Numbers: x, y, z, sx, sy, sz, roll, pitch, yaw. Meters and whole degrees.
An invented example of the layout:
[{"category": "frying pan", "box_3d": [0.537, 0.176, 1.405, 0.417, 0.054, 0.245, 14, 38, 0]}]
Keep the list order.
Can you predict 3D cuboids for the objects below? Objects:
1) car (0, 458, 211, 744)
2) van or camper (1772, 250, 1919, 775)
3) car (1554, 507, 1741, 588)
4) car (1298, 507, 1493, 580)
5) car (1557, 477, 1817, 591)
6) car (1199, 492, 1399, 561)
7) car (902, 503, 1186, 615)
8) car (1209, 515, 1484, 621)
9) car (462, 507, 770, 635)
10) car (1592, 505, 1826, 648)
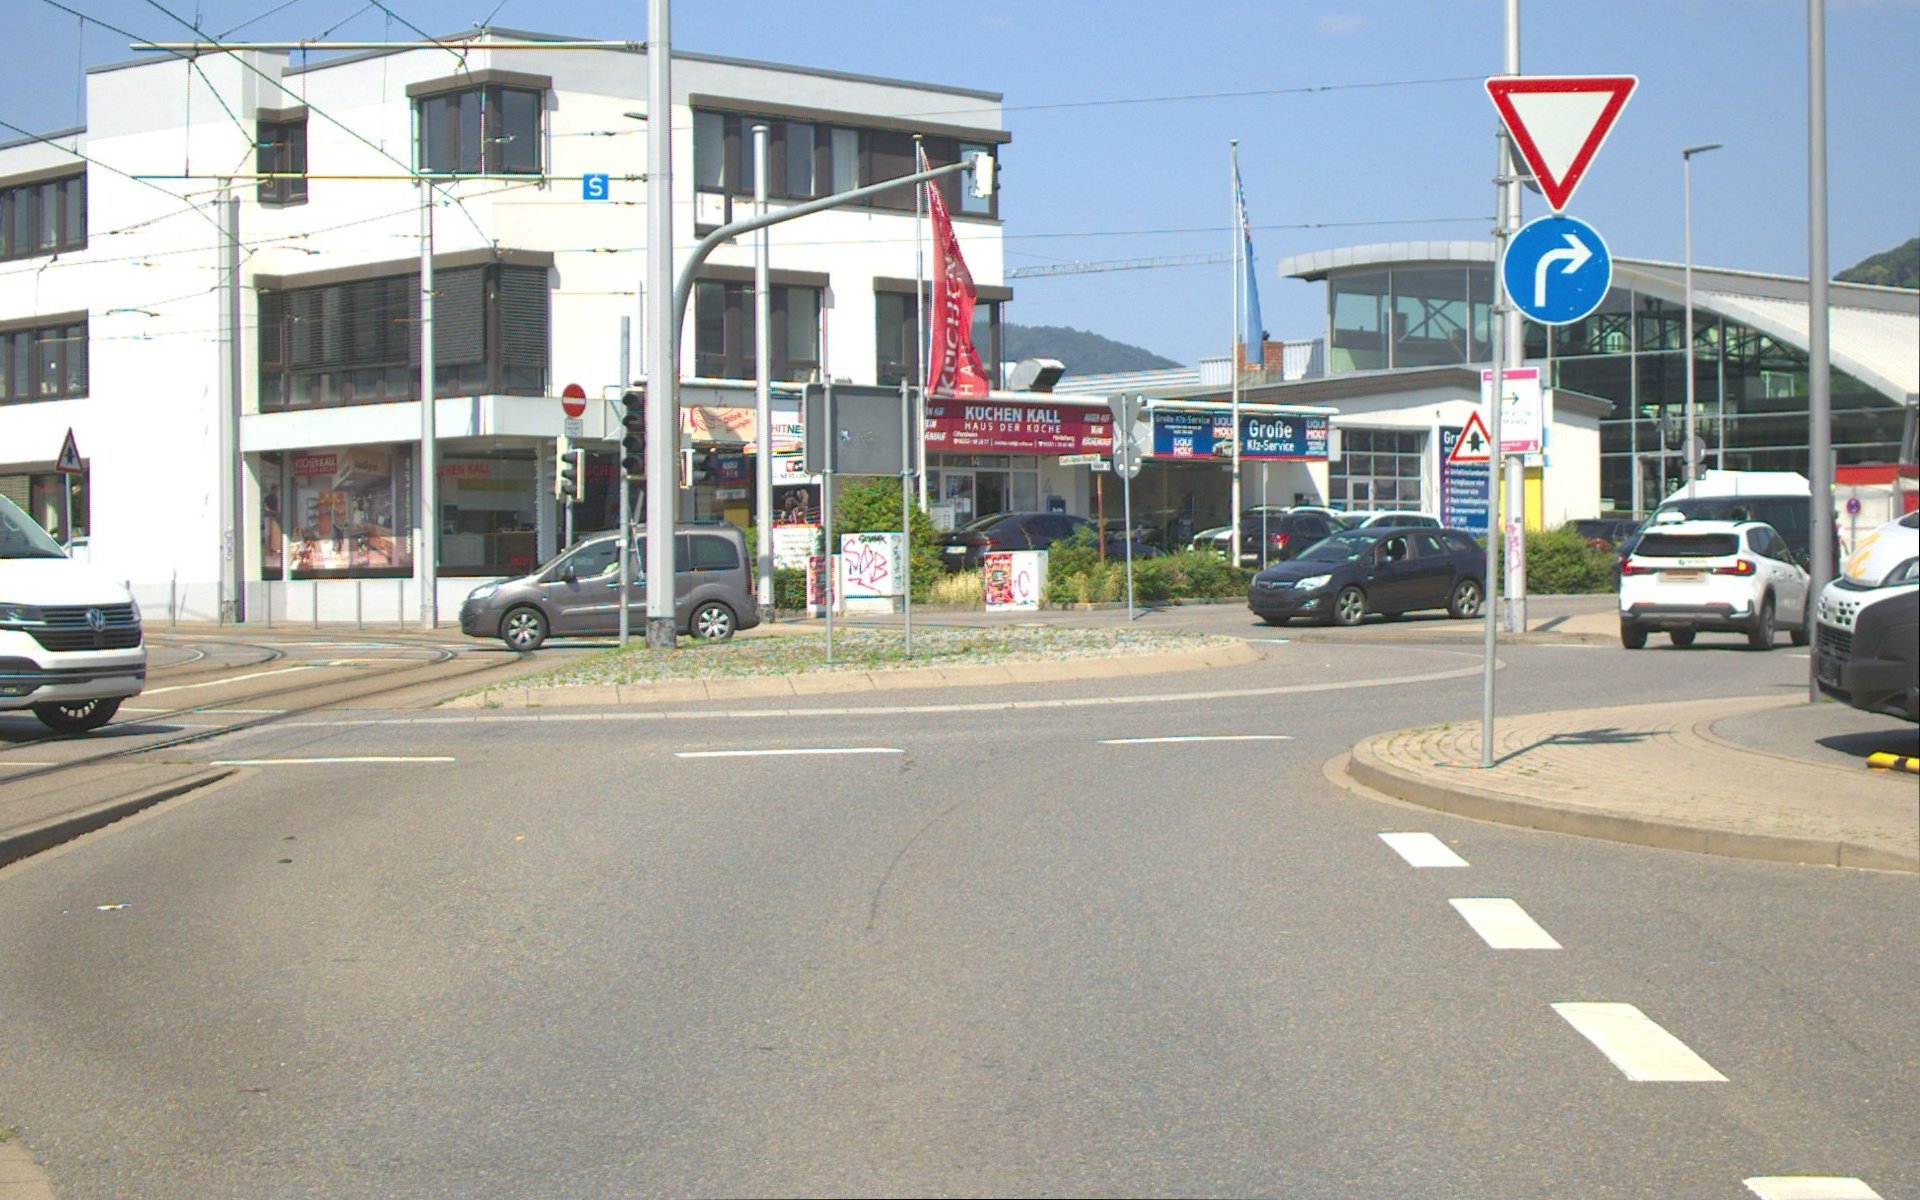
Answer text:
[{"category": "car", "box_3d": [-8.393, -0.021, 26.112, 5.008, 2.007, 2.166, 0, 1, 26]}, {"category": "van or camper", "box_3d": [7.648, -0.545, 19.060, 5.811, 2.764, 2.091, -1, 2, 3]}, {"category": "car", "box_3d": [14.443, -1.118, 72.096, 1.999, 1.612, 3.990, 0, 1, 44]}, {"category": "car", "box_3d": [10.082, -1.311, 79.344, 1.885, 1.583, 4.916, -2, -1, 43]}, {"category": "car", "box_3d": [12.827, -1.193, 60.523, 4.626, 1.903, 2.097, -2, 2, -41]}, {"category": "car", "box_3d": [7.234, -1.566, 73.107, 2.031, 1.422, 4.306, 1, 1, 43]}, {"category": "car", "box_3d": [1.581, -0.773, 62.737, 5.266, 1.959, 1.965, -2, 1, -42]}, {"category": "car", "box_3d": [6.170, -0.528, 54.663, 4.230, 1.550, 1.969, -2, 2, -40]}, {"category": "car", "box_3d": [-5.046, -0.442, 50.393, 4.394, 1.812, 1.990, 0, 1, -6]}, {"category": "car", "box_3d": [9.645, -0.332, 44.013, 1.996, 1.727, 4.558, 0, 1, 24]}]
